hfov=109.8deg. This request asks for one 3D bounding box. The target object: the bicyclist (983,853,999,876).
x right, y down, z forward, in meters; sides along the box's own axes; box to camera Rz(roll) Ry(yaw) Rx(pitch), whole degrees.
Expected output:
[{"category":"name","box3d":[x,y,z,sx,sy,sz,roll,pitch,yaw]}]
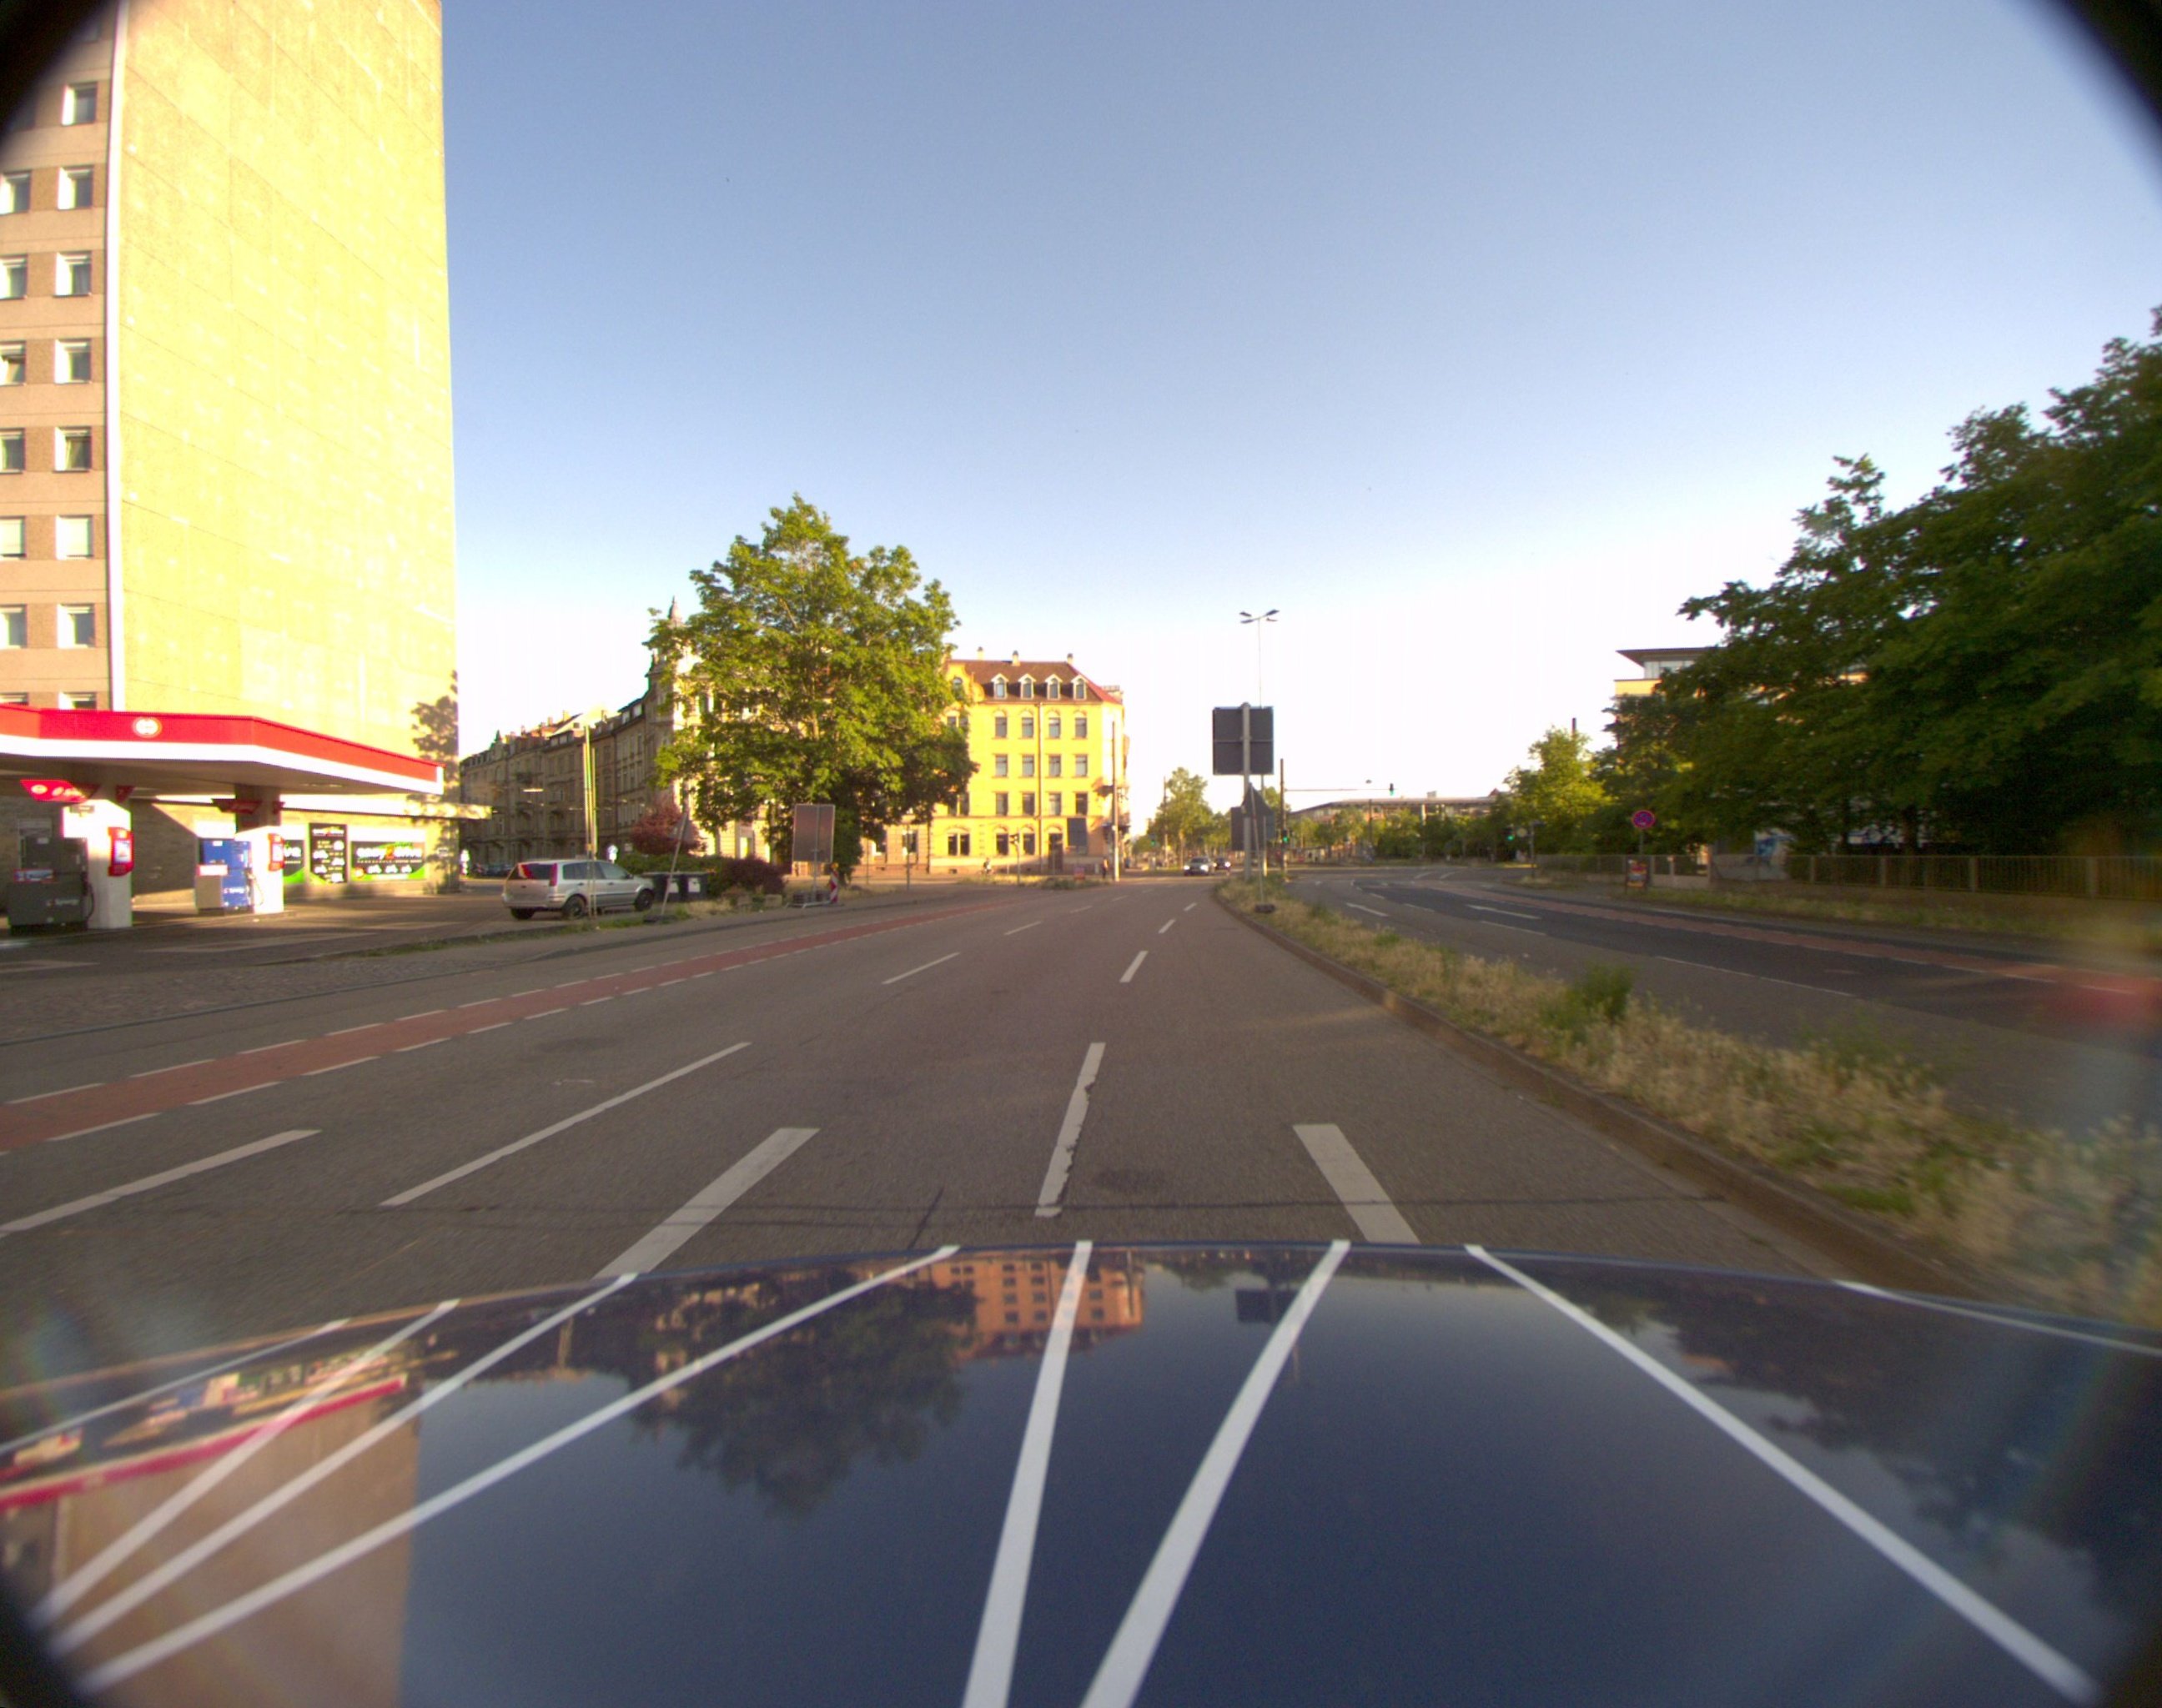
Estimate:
[{"category":"bicyclist","box3d":[-6.290,0.726,52.903,1.065,1.639,0.732,-1,1,-5]}]

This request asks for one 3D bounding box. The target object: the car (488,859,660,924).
[{"category":"car","box3d":[-13.425,0.930,20.417,1.687,1.508,3.798,-1,1,9]}]

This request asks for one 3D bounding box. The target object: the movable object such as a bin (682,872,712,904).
[{"category":"movable object such as a bin","box3d":[-12.501,1.094,24.734,0.544,1.013,0.688,-1,1,7]}]

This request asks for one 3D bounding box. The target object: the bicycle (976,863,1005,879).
[{"category":"bicycle","box3d":[-6.278,1.181,52.828,1.927,1.053,0.451,-1,1,-5]}]

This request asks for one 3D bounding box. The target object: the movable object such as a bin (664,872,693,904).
[{"category":"movable object such as a bin","box3d":[-13.216,1.108,24.964,0.544,1.013,0.688,-1,1,7]}]

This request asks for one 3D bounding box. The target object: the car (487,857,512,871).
[{"category":"car","box3d":[-69.641,1.202,91.020,3.109,1.536,1.682,-2,1,40]}]

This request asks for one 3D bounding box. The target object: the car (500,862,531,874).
[{"category":"car","box3d":[-65.644,1.572,88.167,3.988,1.356,2.004,0,0,39]}]

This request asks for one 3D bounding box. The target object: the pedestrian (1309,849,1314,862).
[{"category":"pedestrian","box3d":[37.035,0.246,122.228,0.556,2.002,0.664,-1,1,2]}]

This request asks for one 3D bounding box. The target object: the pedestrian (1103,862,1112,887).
[{"category":"pedestrian","box3d":[1.777,1.362,50.694,0.500,1.693,0.472,-1,1,7]}]

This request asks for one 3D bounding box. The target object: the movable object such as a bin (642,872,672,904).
[{"category":"movable object such as a bin","box3d":[-13.961,1.113,25.006,0.544,1.013,0.688,-1,1,7]}]

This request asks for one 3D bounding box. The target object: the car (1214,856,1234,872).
[{"category":"car","box3d":[14.246,0.977,75.707,1.584,1.440,3.874,-2,0,6]}]

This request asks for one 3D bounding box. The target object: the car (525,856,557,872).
[{"category":"car","box3d":[-58.567,1.107,82.398,3.988,1.677,2.004,0,0,41]}]

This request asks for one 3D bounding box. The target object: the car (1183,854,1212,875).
[{"category":"car","box3d":[8.811,0.755,57.675,1.819,1.440,4.668,-2,0,5]}]
